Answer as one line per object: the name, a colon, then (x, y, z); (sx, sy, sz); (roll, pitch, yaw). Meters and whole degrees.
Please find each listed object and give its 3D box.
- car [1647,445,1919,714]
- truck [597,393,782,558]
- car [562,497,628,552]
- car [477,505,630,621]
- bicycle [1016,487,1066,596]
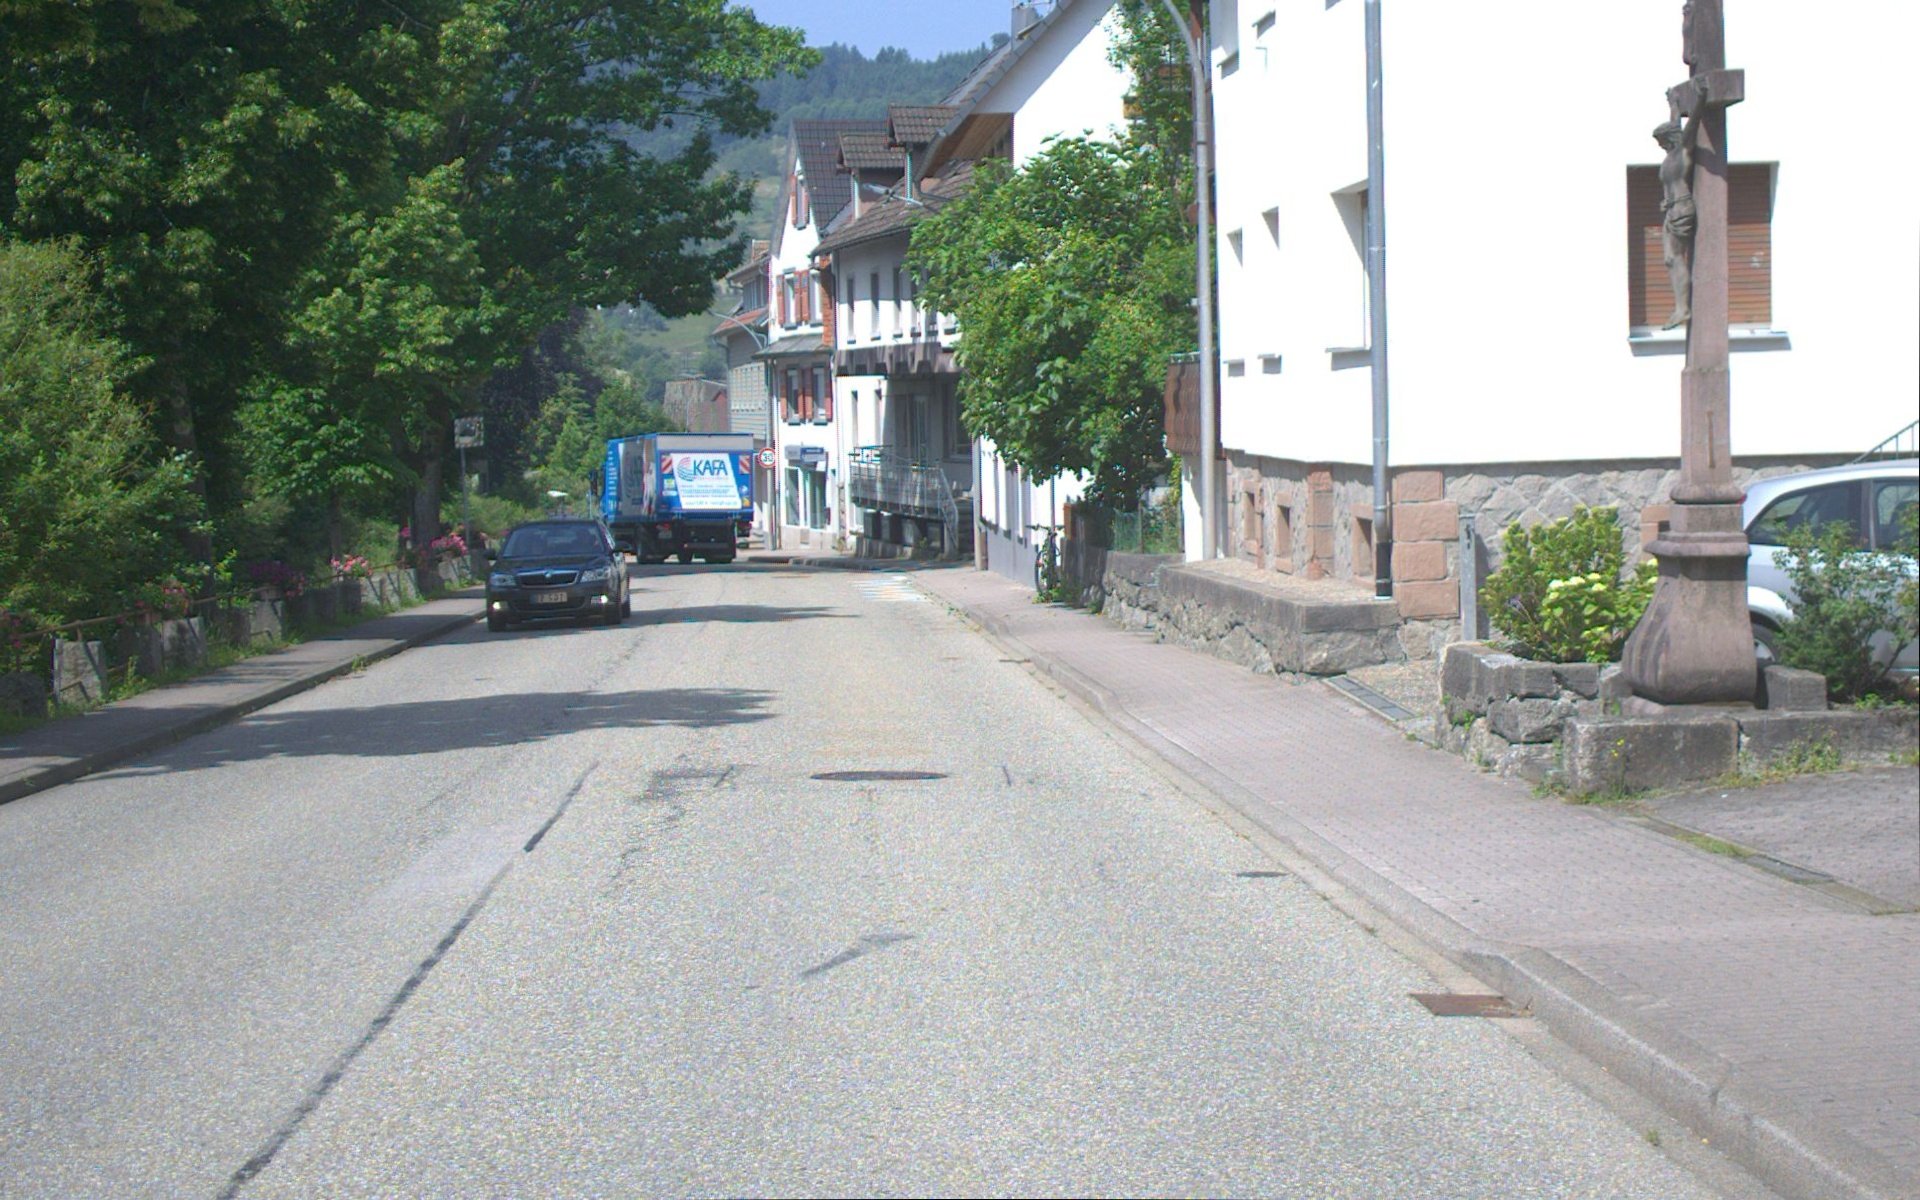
car: (6.076, -0.147, 19.914); (3.773, 1.422, 1.606); (1, 7, 43)
truck: (-7.345, -3.237, 92.109); (3.362, 3.769, 8.442); (-5, 0, -13)
car: (-13.316, -2.724, 125.250); (1.773, 1.728, 4.001); (-5, 0, -13)
car: (-5.453, -0.529, 46.530); (1.666, 1.413, 4.087); (-3, 1, -2)
bicycle: (1.076, -0.802, 46.193); (0.425, 1.391, 2.277); (-5, 2, -2)
